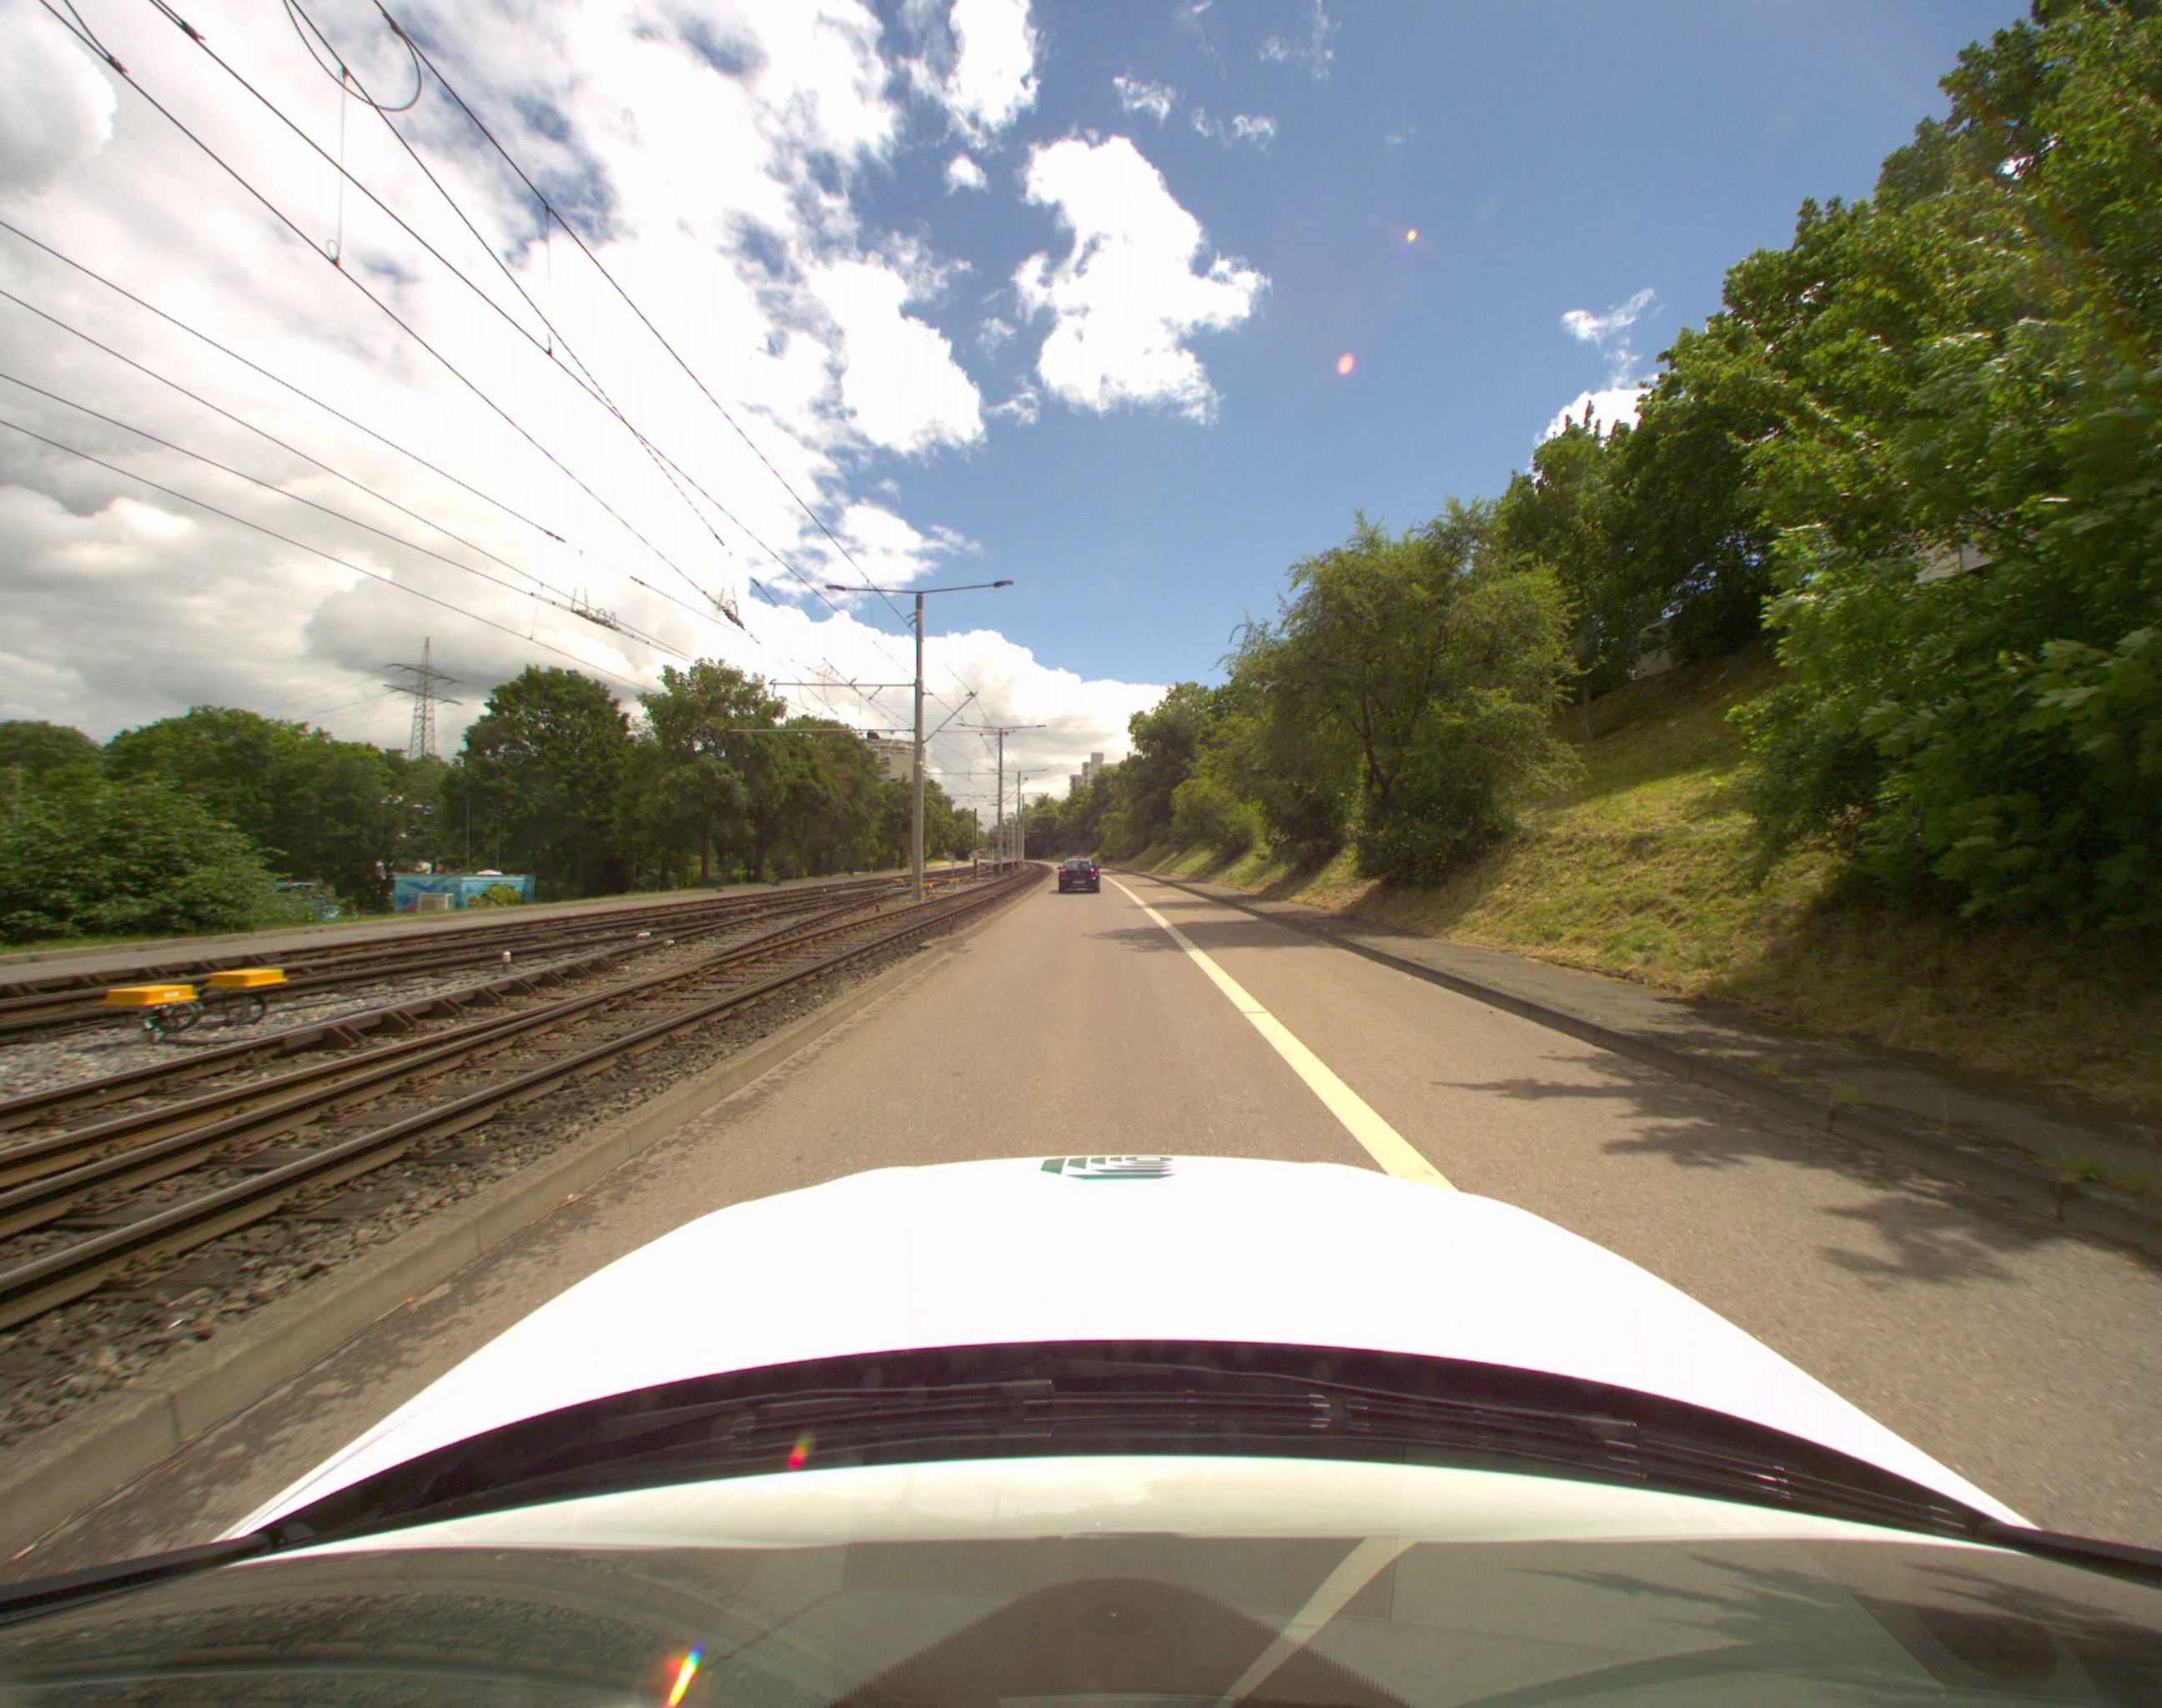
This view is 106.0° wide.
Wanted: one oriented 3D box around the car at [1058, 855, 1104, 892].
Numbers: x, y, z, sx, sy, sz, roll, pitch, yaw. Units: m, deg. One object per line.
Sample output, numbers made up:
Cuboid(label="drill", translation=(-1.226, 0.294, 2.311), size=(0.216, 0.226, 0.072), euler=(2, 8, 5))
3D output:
Cuboid(label="car", translation=(0.042, 0.833, 34.956), size=(1.701, 1.460, 3.963), euler=(1, -1, 3))

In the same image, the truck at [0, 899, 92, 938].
Cuboid(label="truck", translation=(-66.503, 4.103, 51.242), size=(5.812, 2.178, 1.999), euler=(-2, 0, -2))

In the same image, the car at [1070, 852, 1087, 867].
Cuboid(label="car", translation=(-0.243, 0.538, 82.747), size=(1.619, 1.443, 3.421), euler=(1, 1, 0))
